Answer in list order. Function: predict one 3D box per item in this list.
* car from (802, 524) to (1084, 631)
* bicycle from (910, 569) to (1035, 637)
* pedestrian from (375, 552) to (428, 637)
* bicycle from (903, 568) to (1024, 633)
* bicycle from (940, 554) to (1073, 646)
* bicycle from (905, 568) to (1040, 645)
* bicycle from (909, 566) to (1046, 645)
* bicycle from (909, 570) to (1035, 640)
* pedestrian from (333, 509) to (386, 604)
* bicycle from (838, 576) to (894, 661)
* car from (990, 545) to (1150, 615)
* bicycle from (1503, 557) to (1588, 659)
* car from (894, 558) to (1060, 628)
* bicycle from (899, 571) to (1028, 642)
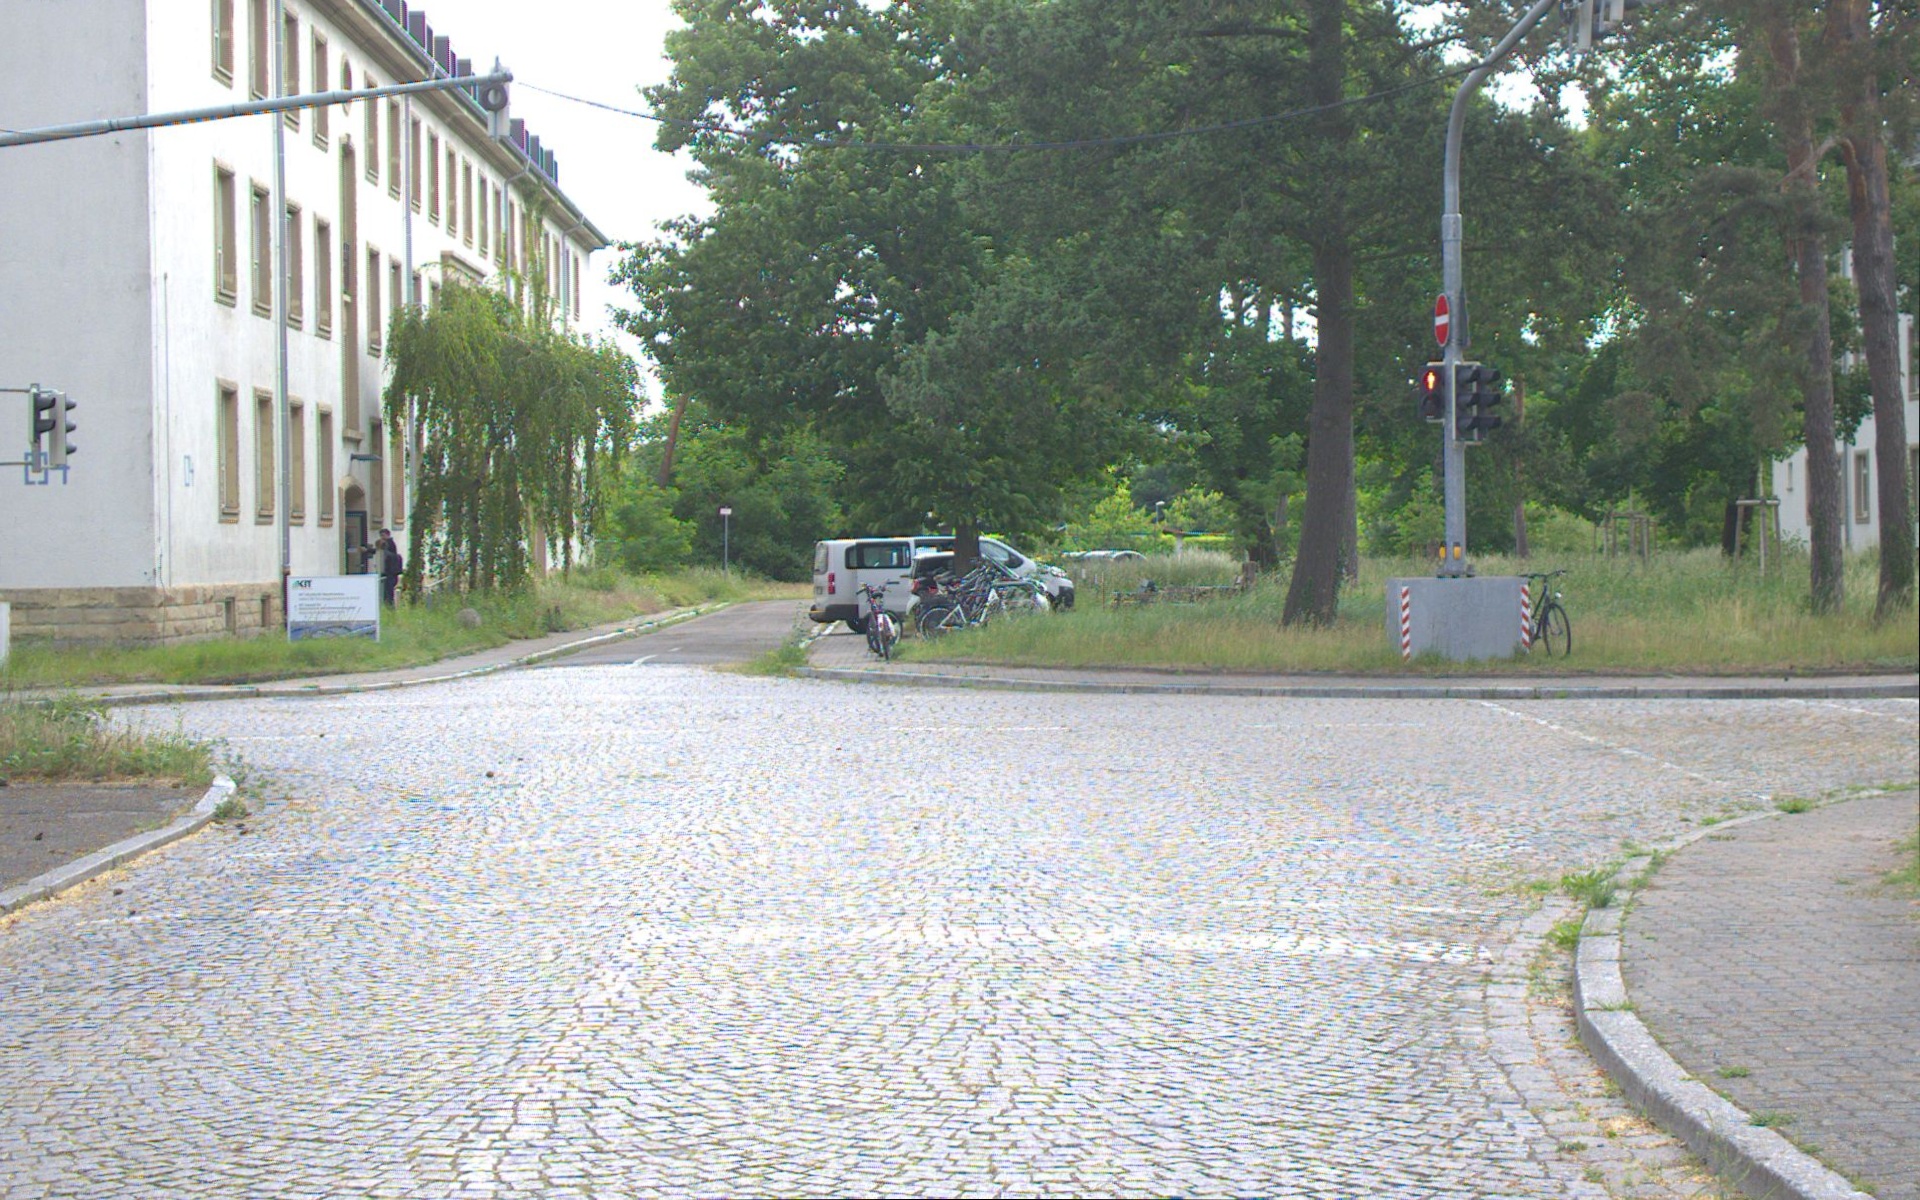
[{"bbox_3d":[-0.361,-0.465,69.033,5.359,1.918,2.025,-2,1,-9],"label":"car"},{"bbox_3d":[0.198,0.039,55.776,1.954,1.066,0.588,-1,1,-25],"label":"bicycle"},{"bbox_3d":[-10.701,-0.105,65.831,0.774,1.613,0.740,-1,1,11],"label":"pedestrian"},{"bbox_3d":[0.062,0.005,58.108,1.954,1.066,0.588,-1,1,-25],"label":"bicycle"},{"bbox_3d":[0.712,-0.005,52.421,1.954,1.379,0.588,-1,1,-7],"label":"bicycle"},{"bbox_3d":[0.182,0.092,51.589,1.954,1.113,0.588,-1,1,-7],"label":"bicycle"},{"bbox_3d":[0.254,0.078,50.955,1.954,1.129,0.588,-1,1,-7],"label":"bicycle"},{"bbox_3d":[0.191,0.074,54.422,1.955,1.066,0.588,-1,1,-30],"label":"bicycle"},{"bbox_3d":[-11.638,-0.841,66.631,0.774,1.831,0.741,-1,1,-32],"label":"pedestrian"},{"bbox_3d":[-1.310,0.241,47.736,0.603,1.128,1.962,-1,1,-6],"label":"bicycle"},{"bbox_3d":[2.323,-0.436,72.927,3.231,1.411,1.725,-1,1,-3],"label":"car"},{"bbox_3d":[6.609,0.079,38.871,0.586,1.102,1.961,-1,1,-1],"label":"bicycle"},{"bbox_3d":[0.311,-0.142,65.584,3.005,1.264,1.535,-1,1,-6],"label":"car"},{"bbox_3d":[0.056,0.094,53.072,1.955,1.066,0.588,-1,1,-30],"label":"bicycle"}]
